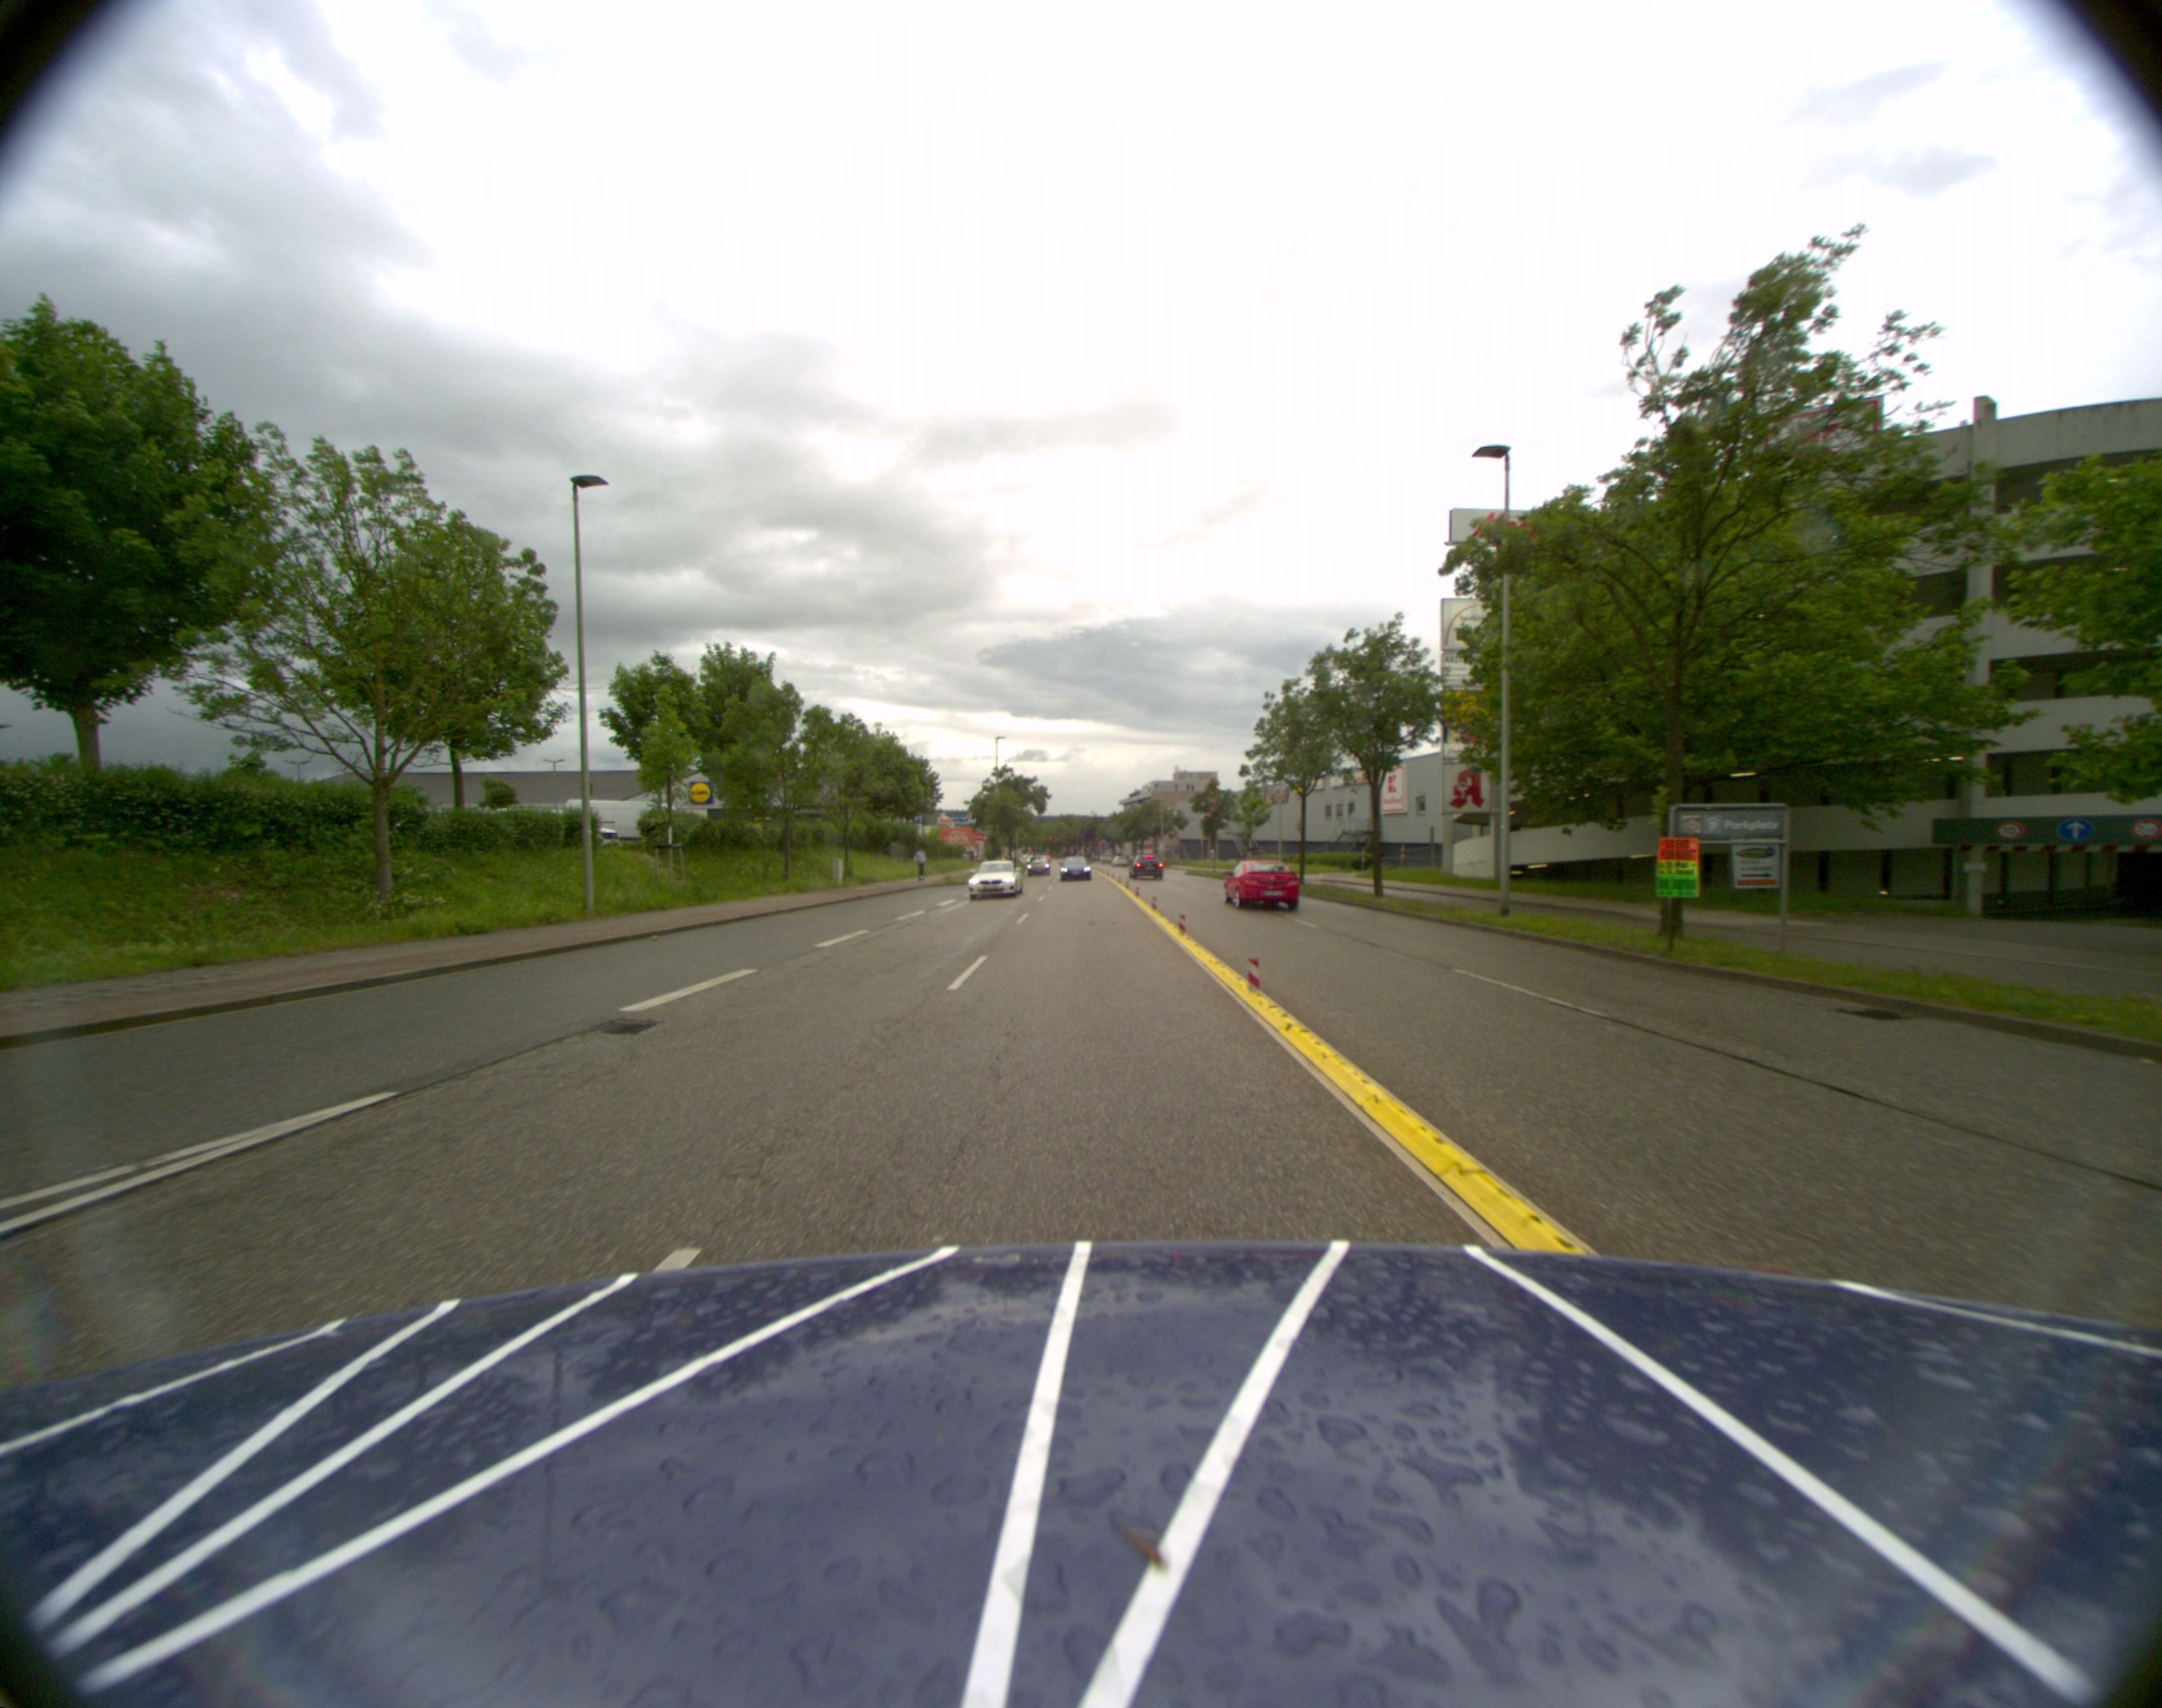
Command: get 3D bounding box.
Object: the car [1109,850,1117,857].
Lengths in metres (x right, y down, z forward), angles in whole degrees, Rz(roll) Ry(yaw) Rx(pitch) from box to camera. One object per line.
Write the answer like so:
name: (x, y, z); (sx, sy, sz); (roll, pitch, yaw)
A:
car: (9.653, -0.093, 229.576); (1.999, 2.002, 4.884); (-5, 1, -1)

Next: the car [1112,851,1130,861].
car: (5.592, 0.283, 106.533); (1.905, 1.400, 4.421); (0, 0, -7)

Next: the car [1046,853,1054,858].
car: (-8.252, 0.405, 202.573); (1.789, 1.398, 4.613); (0, 0, -8)

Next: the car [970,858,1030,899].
car: (-3.251, 0.958, 31.276); (1.808, 1.432, 4.542); (-3, 0, 1)

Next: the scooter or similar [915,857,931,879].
scooter or similar: (-9.502, 0.817, 45.756); (0.696, 1.256, 1.400); (1, 1, 0)

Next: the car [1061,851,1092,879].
car: (-0.300, 0.637, 47.050); (1.799, 1.572, 4.218); (-3, 0, -1)

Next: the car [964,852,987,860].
car: (-23.227, 0.342, 167.631); (4.666, 1.591, 1.927); (2, 0, 4)

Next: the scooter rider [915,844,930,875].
scooter rider: (-9.498, 0.313, 45.676); (0.696, 1.810, 0.858); (1, 1, 0)

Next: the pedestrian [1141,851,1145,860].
pedestrian: (11.172, 0.259, 137.041); (0.586, 1.574, 0.766); (-3, 1, -4)

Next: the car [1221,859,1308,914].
car: (5.424, 0.897, 22.960); (1.766, 1.417, 4.180); (1, 1, 3)

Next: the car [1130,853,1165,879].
car: (4.042, 0.670, 46.619); (1.831, 1.457, 4.616); (1, 0, 1)

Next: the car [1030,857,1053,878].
car: (-3.243, 1.085, 62.969); (1.799, 1.572, 4.217); (-3, 0, -2)

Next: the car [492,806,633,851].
car: (-21.260, -1.021, 31.296); (4.360, 1.619, 1.927); (2, 1, -5)

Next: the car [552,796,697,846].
car: (-22.174, -1.571, 37.117); (5.625, 2.130, 2.120); (2, 1, -7)
